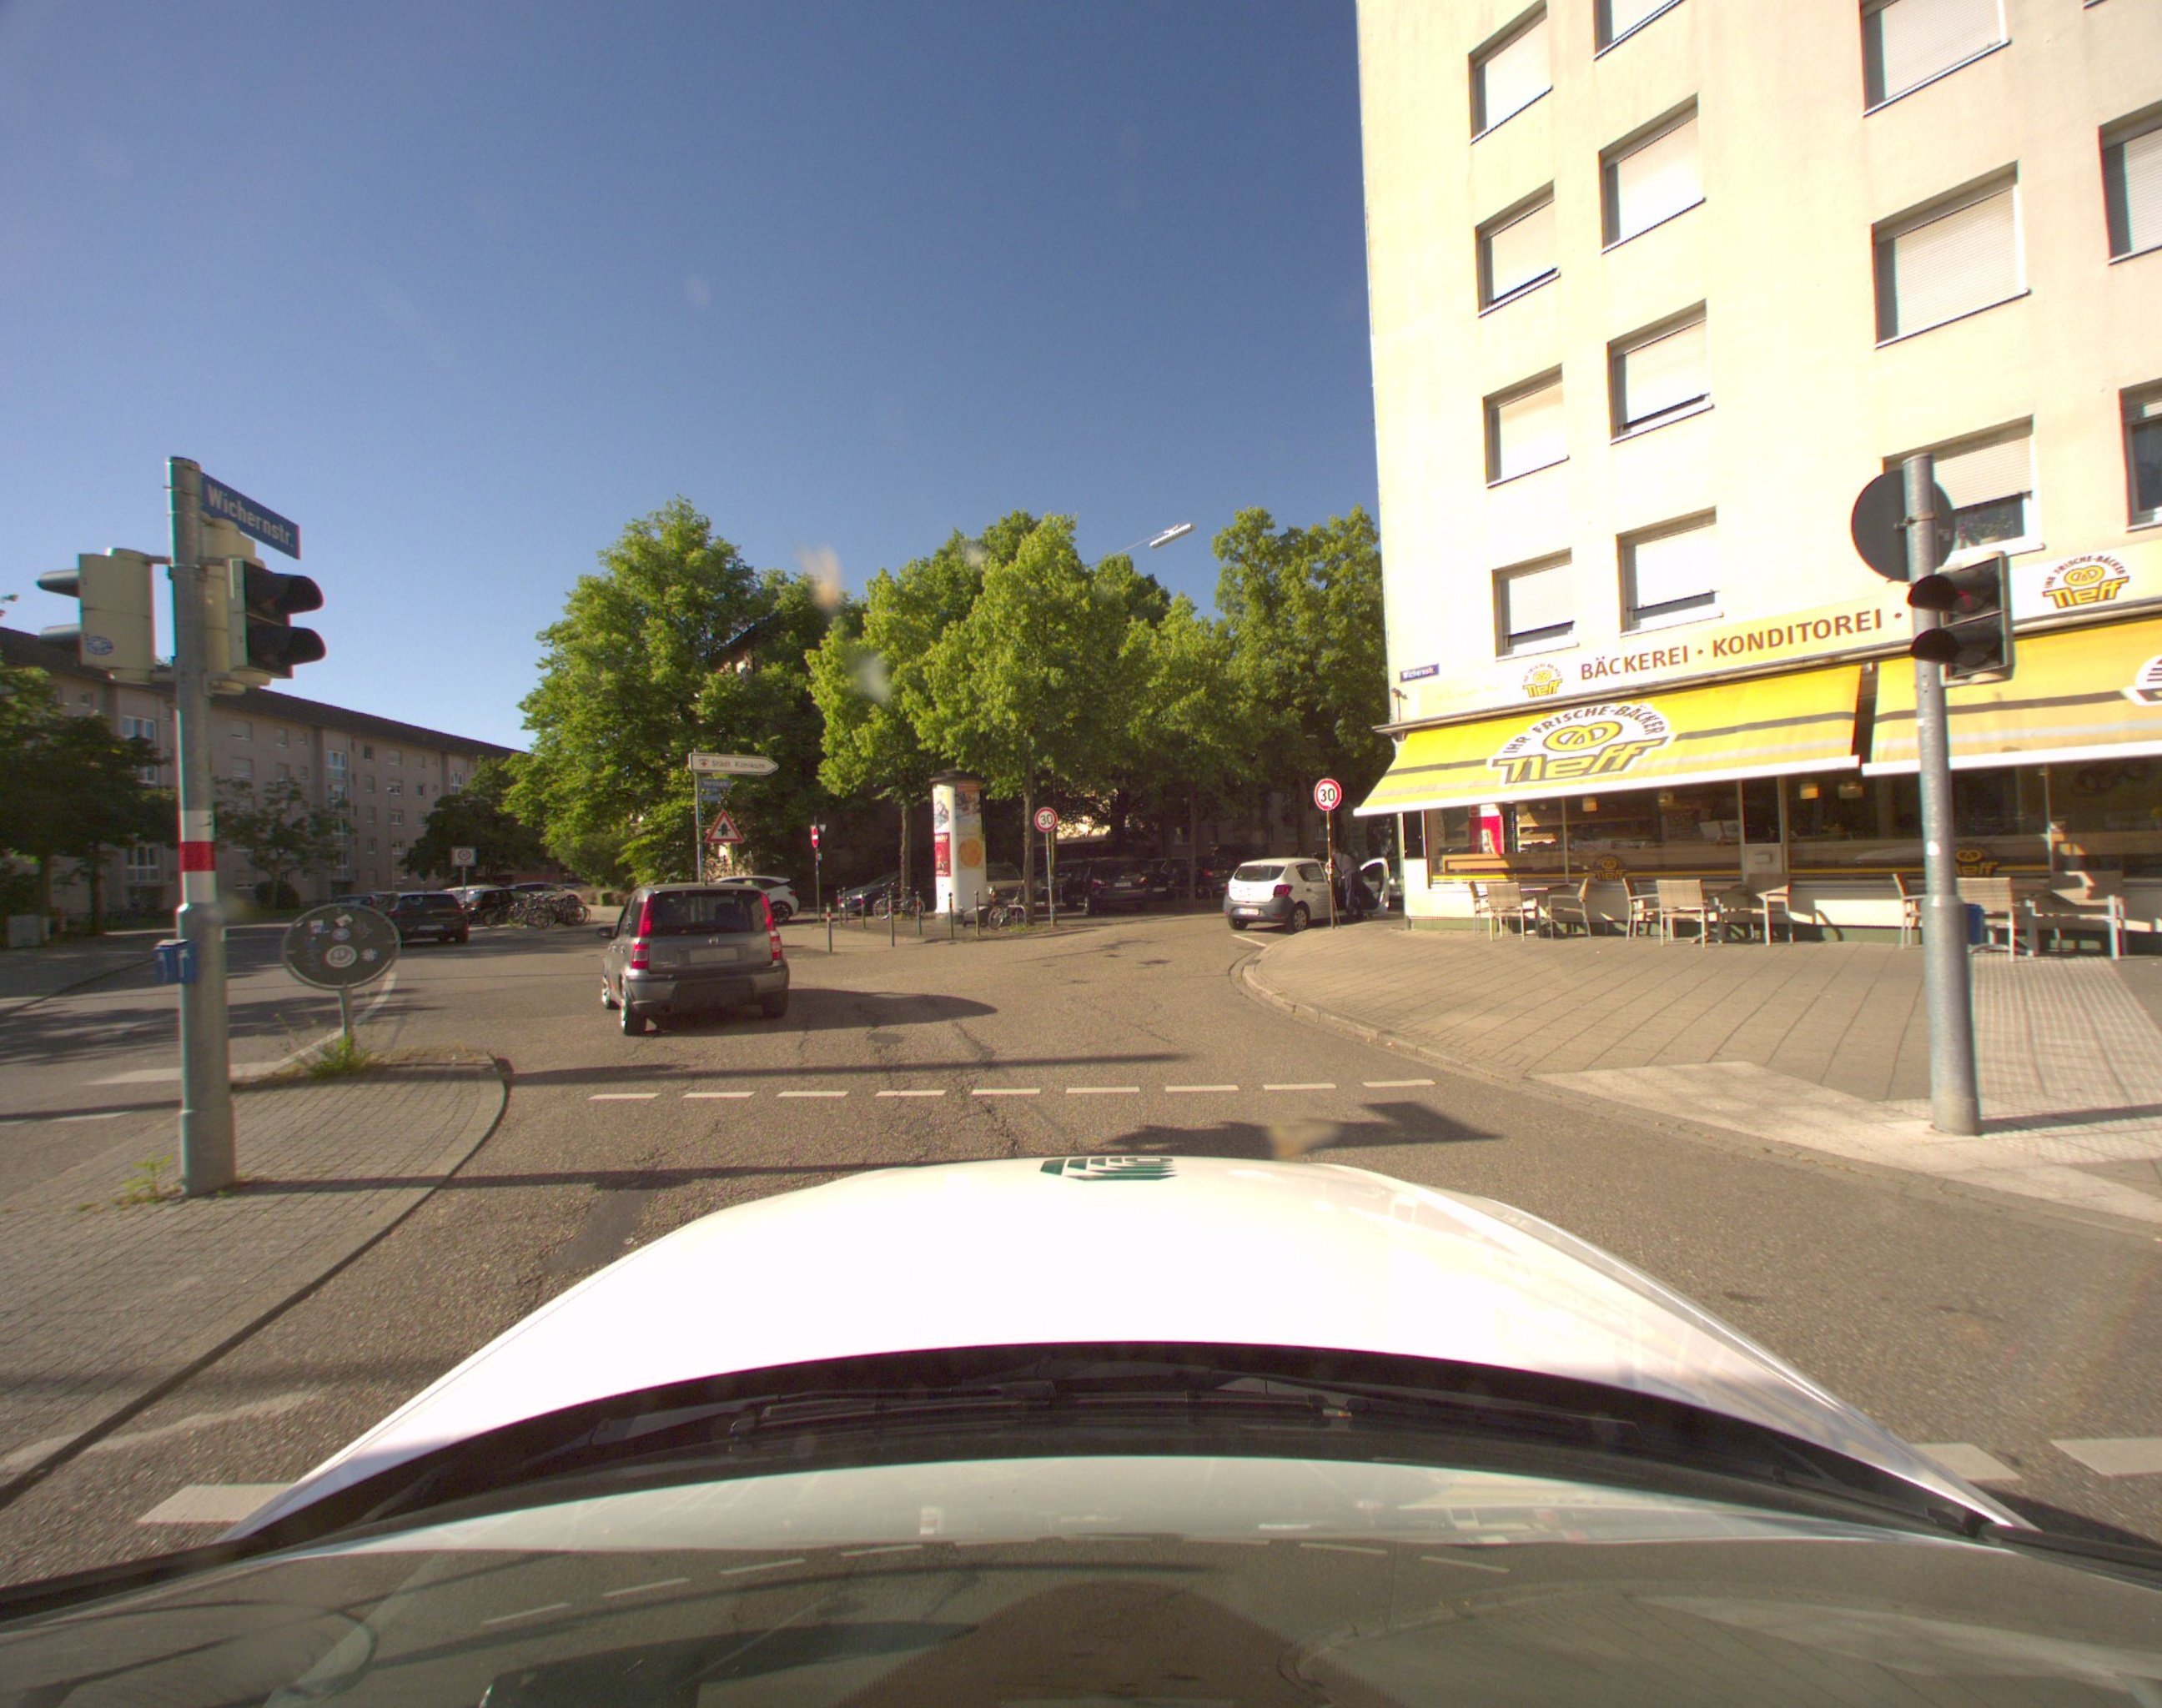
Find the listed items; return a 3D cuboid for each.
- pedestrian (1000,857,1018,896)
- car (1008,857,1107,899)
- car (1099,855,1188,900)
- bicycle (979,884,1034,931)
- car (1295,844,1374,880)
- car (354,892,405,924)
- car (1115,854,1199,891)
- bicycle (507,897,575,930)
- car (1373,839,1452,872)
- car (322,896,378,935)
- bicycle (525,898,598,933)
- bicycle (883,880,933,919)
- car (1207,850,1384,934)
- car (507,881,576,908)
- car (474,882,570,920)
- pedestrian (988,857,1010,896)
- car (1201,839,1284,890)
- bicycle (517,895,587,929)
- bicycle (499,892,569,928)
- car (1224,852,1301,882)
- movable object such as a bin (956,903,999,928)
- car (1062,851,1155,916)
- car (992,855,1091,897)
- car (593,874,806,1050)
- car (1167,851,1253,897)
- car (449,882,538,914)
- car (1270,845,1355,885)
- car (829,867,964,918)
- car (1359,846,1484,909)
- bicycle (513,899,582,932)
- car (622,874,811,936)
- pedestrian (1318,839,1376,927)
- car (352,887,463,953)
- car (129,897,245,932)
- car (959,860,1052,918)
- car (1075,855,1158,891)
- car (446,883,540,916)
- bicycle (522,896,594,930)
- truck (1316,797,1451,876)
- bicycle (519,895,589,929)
[{"bbox_3d":[-3.336,1.042,37.627,0.740,1.735,0.538,-3,-1,-9],"label":"pedestrian"},{"bbox_3d":[-0.911,0.962,33.225,1.737,1.486,3.974,-3,0,41],"label":"car"},{"bbox_3d":[2.164,0.820,29.271,1.820,1.422,3.926,-2,0,-17],"label":"car"},{"bbox_3d":[-1.885,1.344,20.839,0.349,1.072,1.603,-3,-1,38],"label":"bicycle"},{"bbox_3d":[11.566,0.369,37.493,1.806,1.507,4.332,-2,0,-8],"label":"car"},{"bbox_3d":[-37.513,2.849,43.626,1.691,1.508,3.556,-2,-1,-36],"label":"car"},{"bbox_3d":[3.522,0.825,37.144,1.737,1.486,3.974,-3,0,41],"label":"car"},{"bbox_3d":[-20.174,2.219,30.468,0.442,1.031,2.047,-4,0,40],"label":"bicycle"},{"bbox_3d":[16.685,0.085,41.177,1.843,1.502,3.986,-2,0,-10],"label":"car"},{"bbox_3d":[-32.357,2.702,36.114,1.693,1.508,3.553,-2,-1,-40],"label":"car"},{"bbox_3d":[-18.094,2.122,28.396,0.563,1.031,2.047,-4,0,40],"label":"bicycle"},{"bbox_3d":[-5.322,1.383,25.102,0.349,1.072,1.603,-3,-1,38],"label":"bicycle"},{"bbox_3d":[4.746,0.758,17.757,4.044,1.497,1.704,-3,0,-41],"label":"car"},{"bbox_3d":[-34.624,2.591,52.307,3.609,1.481,1.603,-3,0,-36],"label":"car"},{"bbox_3d":[-26.000,2.172,37.976,1.601,1.481,3.276,-3,0,24],"label":"car"},{"bbox_3d":[-3.706,1.027,36.735,0.733,1.735,0.543,-3,-1,44],"label":"pedestrian"},{"bbox_3d":[6.511,0.408,33.336,1.928,1.873,4.491,-2,0,-8],"label":"car"},{"bbox_3d":[-19.267,2.107,29.712,0.442,1.031,2.047,-4,0,40],"label":"bicycle"},{"bbox_3d":[-20.724,2.120,30.878,0.659,1.177,2.047,-4,0,40],"label":"bicycle"},{"bbox_3d":[9.493,0.644,42.429,1.747,1.294,4.440,-5,-2,45],"label":"car"},{"bbox_3d":[-2.744,1.643,21.741,0.570,0.565,1.120,-3,0,28],"label":"movable object such as a bin"},{"bbox_3d":[0.731,0.806,24.910,1.832,1.671,4.320,-2,2,-12],"label":"car"},{"bbox_3d":[-1.733,0.977,36.587,4.271,1.640,1.738,-2,0,-44],"label":"car"},{"bbox_3d":[-4.510,1.070,9.395,1.628,1.561,3.221,-2,0,-35],"label":"car"},{"bbox_3d":[4.631,0.709,29.756,1.757,1.481,3.807,-2,0,-13],"label":"car"},{"bbox_3d":[-32.256,2.397,44.813,1.601,1.481,3.613,-3,0,24],"label":"car"},{"bbox_3d":[9.510,0.441,33.854,1.806,1.507,4.332,-2,0,-8],"label":"car"},{"bbox_3d":[-6.539,1.327,29.145,4.324,1.518,1.886,-2,0,-42],"label":"car"},{"bbox_3d":[9.199,0.588,21.882,3.692,1.463,1.582,-2,0,-41],"label":"car"},{"bbox_3d":[-19.695,2.245,30.120,0.442,1.031,2.047,-4,0,40],"label":"bicycle"},{"bbox_3d":[-11.268,1.507,25.339,5.059,1.518,1.903,-2,0,-36],"label":"car"},{"bbox_3d":[5.421,0.579,16.619,0.748,1.722,0.753,-2,-1,-36],"label":"pedestrian"},{"bbox_3d":[-17.953,1.708,21.657,3.710,1.508,1.694,-3,-1,42],"label":"car"},{"bbox_3d":[-54.568,3.661,49.796,4.407,1.798,2.063,-3,-1,-7],"label":"car"},{"bbox_3d":[-2.506,1.081,26.101,1.923,1.610,3.972,-3,-1,-20],"label":"car"},{"bbox_3d":[1.800,0.925,40.311,3.971,1.569,1.738,-2,0,-41],"label":"car"},{"bbox_3d":[-30.500,2.337,42.358,1.601,1.481,3.613,-3,0,24],"label":"car"},{"bbox_3d":[-18.551,2.085,28.941,0.563,1.031,2.047,-4,0,40],"label":"bicycle"},{"bbox_3d":[14.013,-0.693,38.478,2.539,3.293,7.299,-3,-1,-10],"label":"truck"},{"bbox_3d":[-18.947,2.087,29.334,0.463,1.031,2.047,-4,0,40],"label":"bicycle"}]
